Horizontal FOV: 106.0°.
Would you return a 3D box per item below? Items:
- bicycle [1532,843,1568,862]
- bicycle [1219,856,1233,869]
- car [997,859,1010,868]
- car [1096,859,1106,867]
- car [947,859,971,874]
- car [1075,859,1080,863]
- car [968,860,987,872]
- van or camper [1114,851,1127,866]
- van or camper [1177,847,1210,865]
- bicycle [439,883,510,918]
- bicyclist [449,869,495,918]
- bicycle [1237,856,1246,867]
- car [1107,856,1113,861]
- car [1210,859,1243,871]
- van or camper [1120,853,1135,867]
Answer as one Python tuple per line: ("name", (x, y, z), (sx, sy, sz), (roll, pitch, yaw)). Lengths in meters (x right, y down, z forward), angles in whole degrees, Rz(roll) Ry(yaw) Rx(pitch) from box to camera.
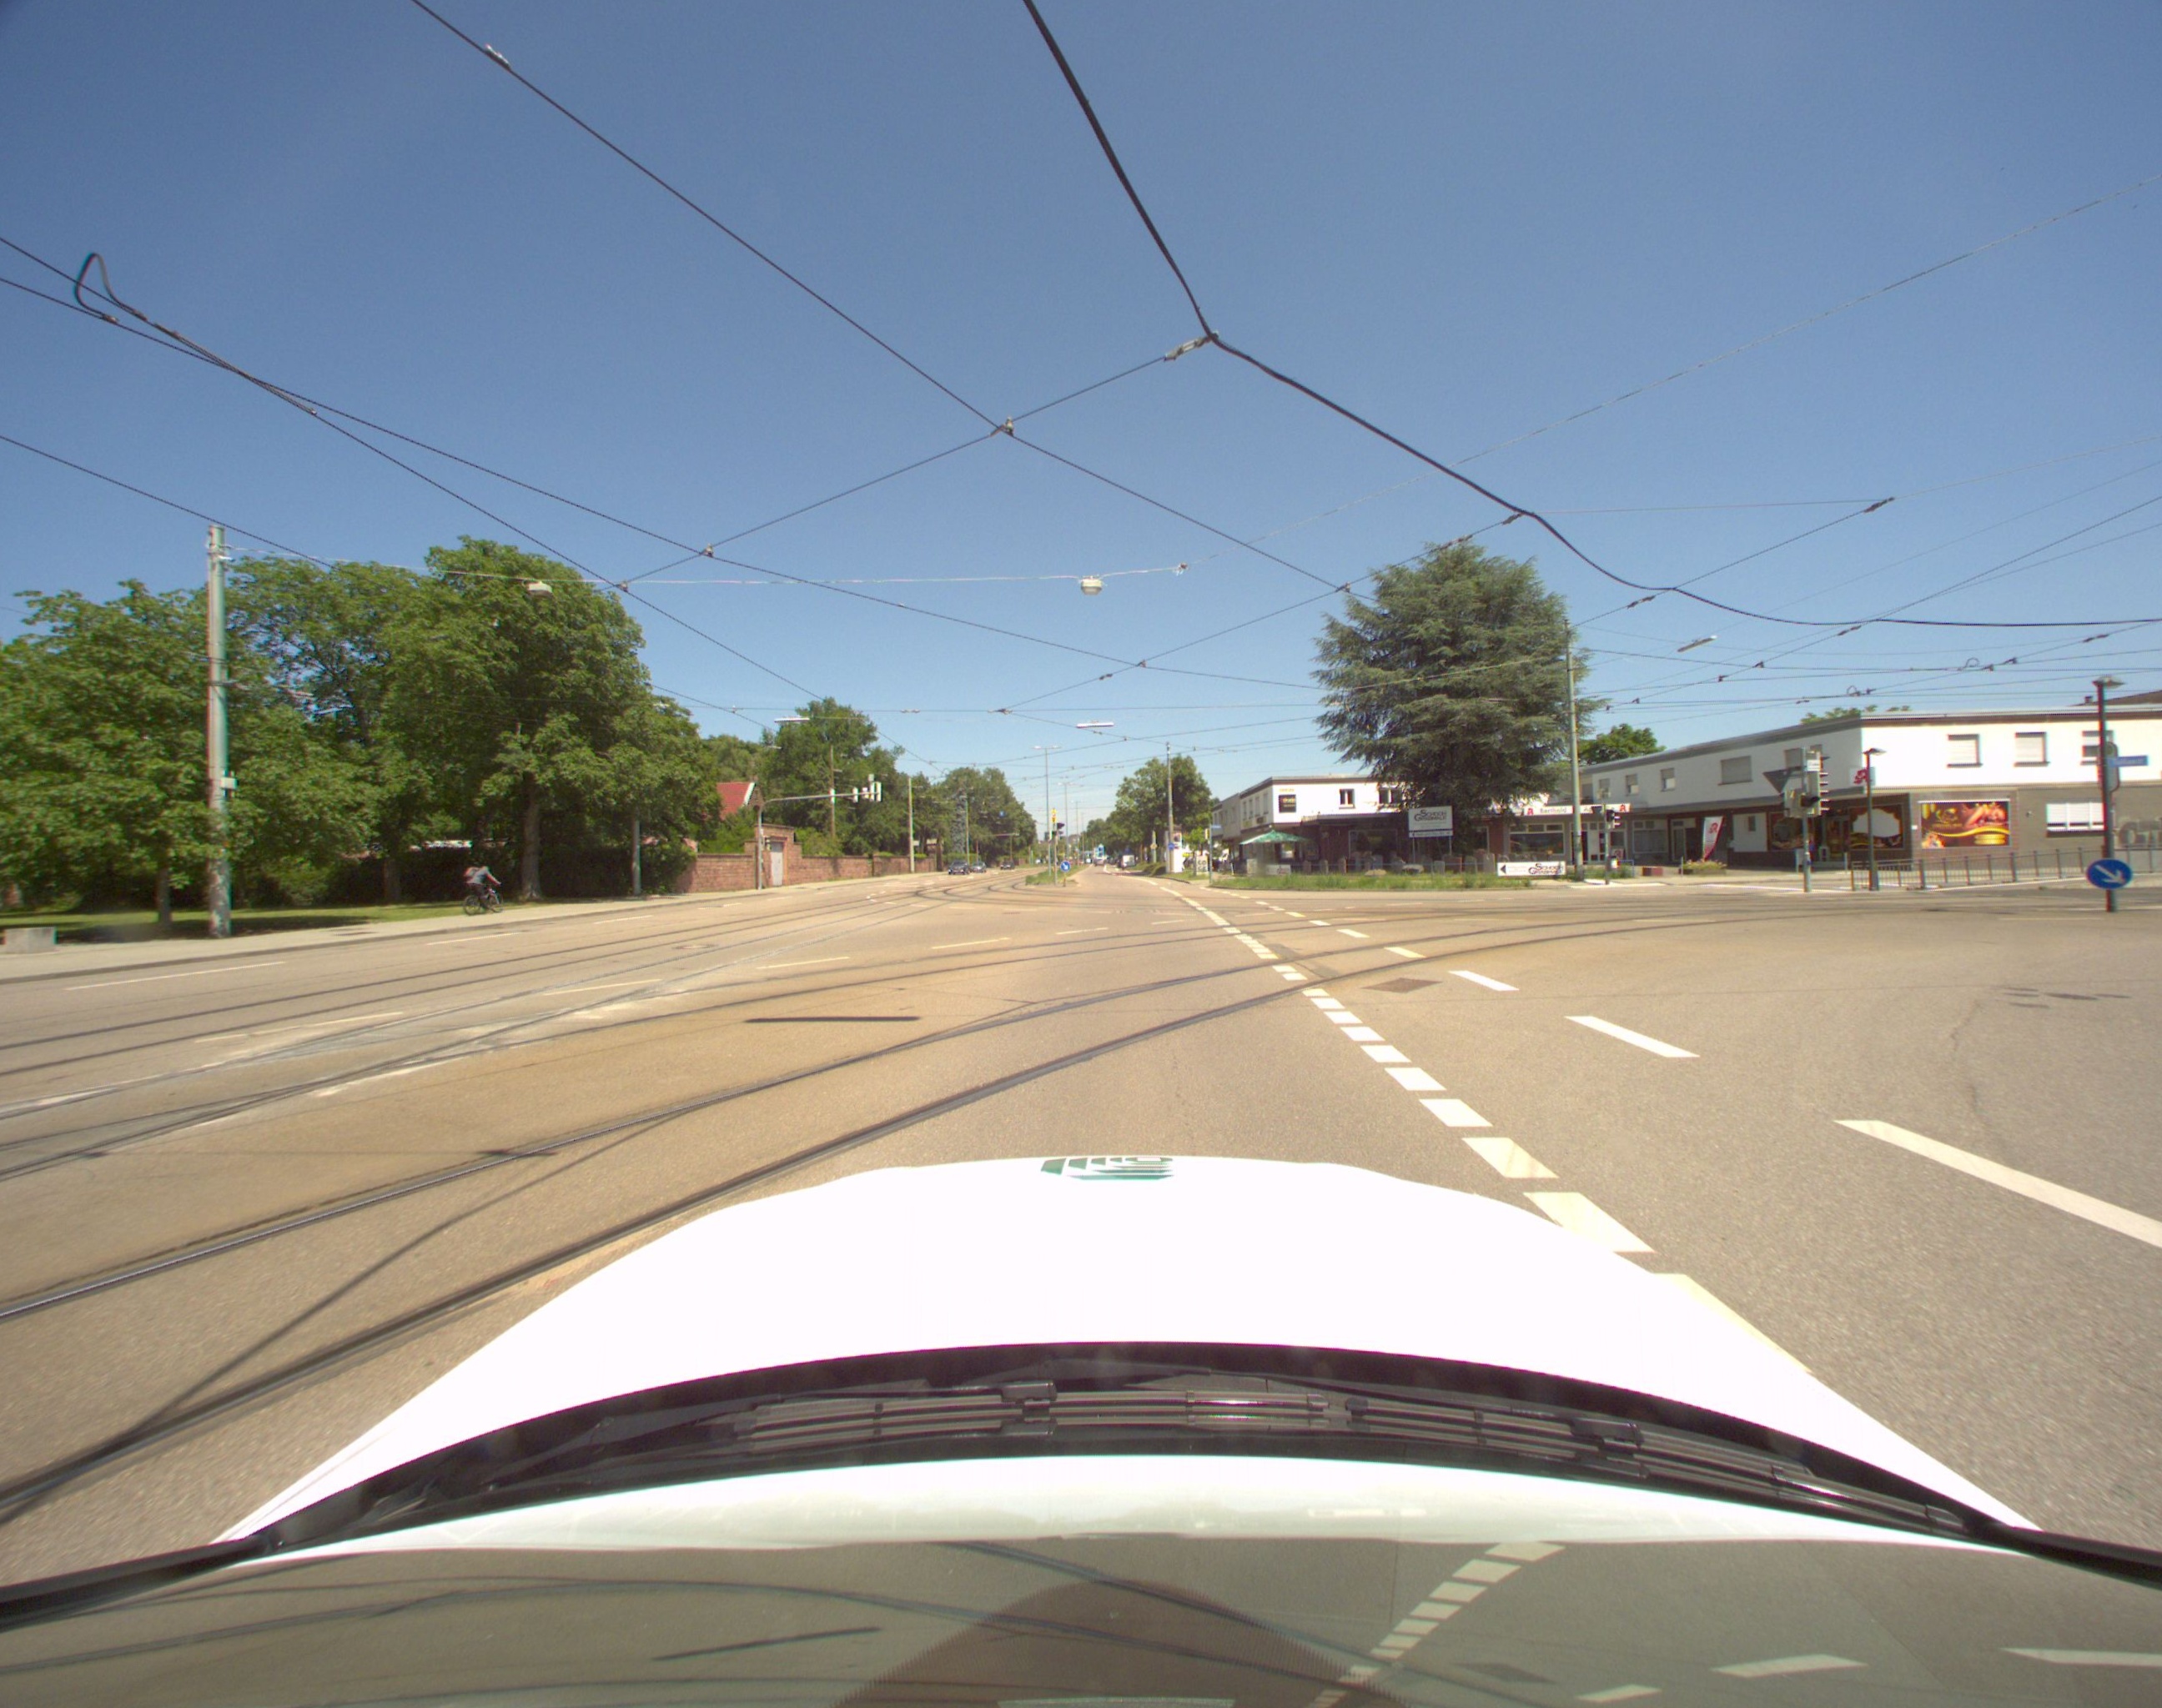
("bicycle", (29.743, -0.119, 51.672), (1.858, 1.192, 0.600), (0, -1, 12))
("bicycle", (11.698, 0.655, 65.957), (1.028, 1.014, 2.643), (-1, 0, 9))
("car", (-12.449, 1.601, 131.719), (1.635, 1.399, 4.116), (0, 0, 1))
("car", (3.697, 1.634, 151.085), (1.632, 1.351, 3.840), (-1, 0, -1))
("car", (-13.803, 1.386, 92.592), (1.812, 1.603, 4.523), (-1, 0, 3))
("car", (-1.142, 2.163, 247.134), (1.487, 1.046, 3.580), (-1, 0, 1))
("car", (-13.504, 1.527, 105.989), (1.634, 1.421, 4.172), (-1, 0, 4))
("van or camper", (6.502, 0.720, 134.492), (1.988, 2.464, 3.998), (-1, 0, -1))
("van or camper", (17.222, 0.325, 124.790), (4.741, 2.671, 2.135), (-1, 0, -1))
("bicycle", (-19.947, 1.515, 26.843), (0.712, 1.041, 2.104), (-1, 0, 2))
("bicyclist", (-19.954, 1.276, 26.689), (0.847, 1.531, 0.845), (-1, -1, 1))
("bicycle", (15.780, 0.743, 80.033), (0.505, 1.065, 1.863), (0, -1, -2))
("car", (8.728, 1.345, 247.188), (1.519, 1.296, 3.491), (-1, 0, -1))
("car", (17.197, 1.281, 96.163), (3.601, 1.351, 1.488), (-1, 0, -5))
("van or camper", (6.361, 0.831, 112.020), (1.915, 1.772, 4.002), (-1, 0, 2))
